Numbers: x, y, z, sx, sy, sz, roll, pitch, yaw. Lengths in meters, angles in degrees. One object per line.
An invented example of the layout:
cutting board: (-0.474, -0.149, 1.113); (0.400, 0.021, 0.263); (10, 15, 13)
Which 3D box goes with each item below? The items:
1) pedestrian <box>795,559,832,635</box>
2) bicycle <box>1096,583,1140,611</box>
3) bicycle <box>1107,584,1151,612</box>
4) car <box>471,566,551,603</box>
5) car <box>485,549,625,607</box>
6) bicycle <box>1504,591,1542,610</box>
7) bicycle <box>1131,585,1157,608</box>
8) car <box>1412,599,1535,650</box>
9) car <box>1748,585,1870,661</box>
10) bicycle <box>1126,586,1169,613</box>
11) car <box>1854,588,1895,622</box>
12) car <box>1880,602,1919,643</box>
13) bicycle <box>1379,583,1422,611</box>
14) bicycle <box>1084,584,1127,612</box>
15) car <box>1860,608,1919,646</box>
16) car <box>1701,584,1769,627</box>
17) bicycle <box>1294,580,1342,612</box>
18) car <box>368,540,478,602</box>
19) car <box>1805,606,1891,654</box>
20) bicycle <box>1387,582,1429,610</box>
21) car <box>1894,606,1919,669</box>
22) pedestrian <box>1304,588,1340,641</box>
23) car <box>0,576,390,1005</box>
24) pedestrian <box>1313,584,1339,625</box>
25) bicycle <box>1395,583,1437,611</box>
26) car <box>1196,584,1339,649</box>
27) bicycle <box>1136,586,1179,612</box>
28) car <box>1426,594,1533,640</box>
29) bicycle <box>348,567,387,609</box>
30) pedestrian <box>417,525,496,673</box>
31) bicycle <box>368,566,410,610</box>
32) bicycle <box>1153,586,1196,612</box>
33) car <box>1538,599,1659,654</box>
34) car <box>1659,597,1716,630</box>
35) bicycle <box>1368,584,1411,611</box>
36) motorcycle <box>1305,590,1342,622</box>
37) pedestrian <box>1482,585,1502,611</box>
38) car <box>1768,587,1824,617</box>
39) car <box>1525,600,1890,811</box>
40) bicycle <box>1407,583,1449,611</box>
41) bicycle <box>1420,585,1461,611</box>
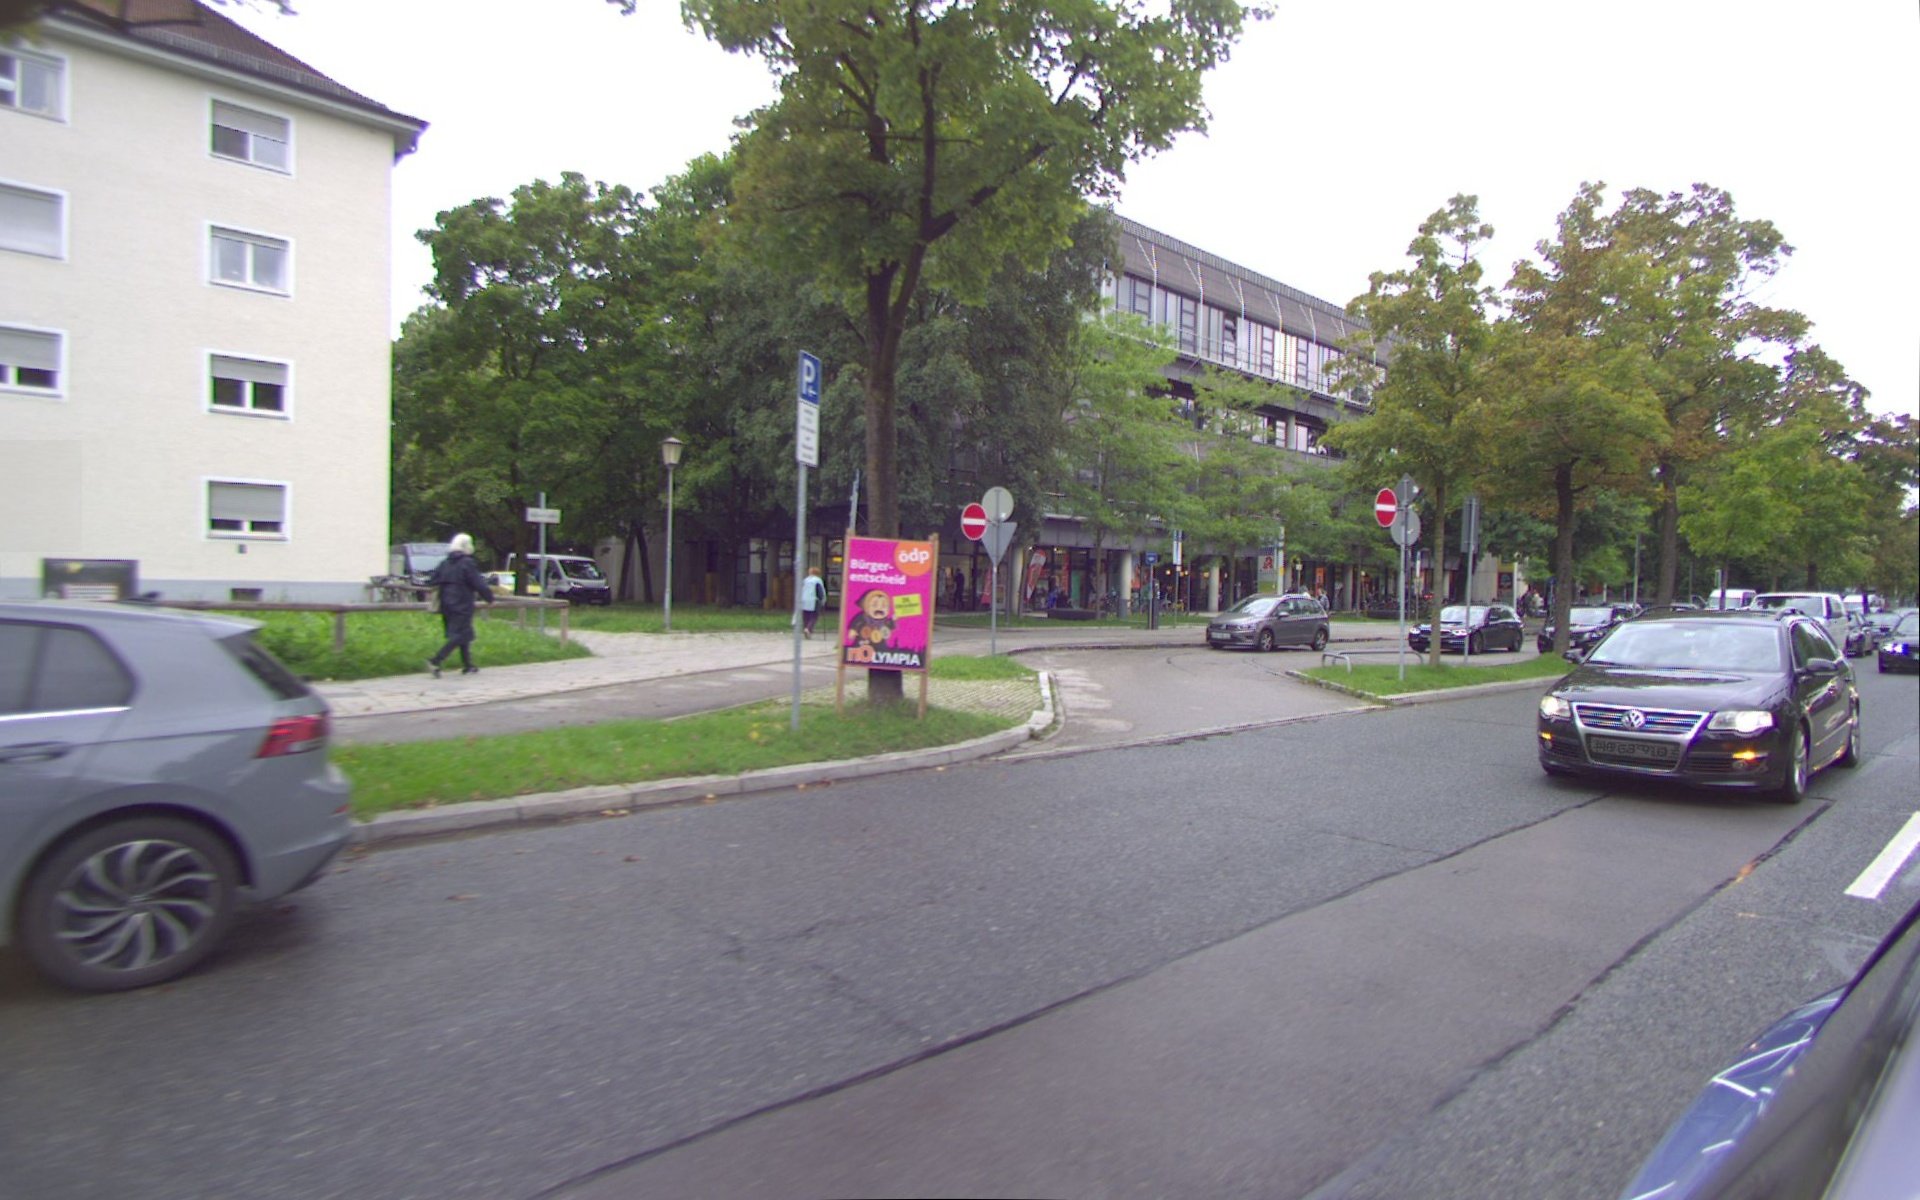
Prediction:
pedestrian: (-3.146, -0.062, 21.729); (0.571, 1.594, 0.779); (0, 0, 11)
bicycle: (6.845, -0.141, 43.995); (0.447, 1.134, 2.079); (1, 1, -40)
bicycle: (7.431, -0.096, 44.598); (0.447, 1.134, 2.079); (1, 1, -40)
car: (-16.593, -0.582, 37.320); (1.559, 1.216, 3.743); (2, 1, -43)
car: (-16.378, -0.924, 40.784); (6.074, 2.078, 2.315); (3, 2, 36)
bicycle: (40.559, 0.015, 72.972); (0.637, 1.318, 2.313); (1, 1, -39)
bicycle: (9.293, -0.162, 51.117); (1.529, 1.134, 0.454); (0, 1, -45)
car: (15.407, 0.691, 30.294); (4.273, 1.397, 1.726); (0, 0, -39)
car: (23.733, 0.611, 28.234); (4.846, 1.952, 1.884); (1, 0, -41)
bicycle: (8.350, -0.028, 45.091); (0.447, 1.134, 2.079); (1, 1, -40)
car: (74.411, 0.427, 82.302); (5.904, 2.691, 1.975); (1, -1, -43)
car: (40.289, 0.928, 42.662); (4.386, 1.662, 1.684); (1, -2, -41)
bicycle: (26.672, -0.183, 61.258); (0.638, 1.643, 2.312); (1, 1, -40)
bicycle: (6.273, -0.082, 43.707); (0.447, 1.134, 2.079); (1, 1, -40)
car: (36.032, 1.009, 38.931); (4.011, 1.392, 1.684); (1, 0, -42)
car: (49.575, 0.337, 64.698); (5.754, 2.560, 2.267); (1, 1, -41)
bicycle: (19.098, -0.236, 53.987); (2.298, 1.643, 0.642); (2, 1, 33)
car: (-19.455, -1.079, 36.506); (2.304, 2.023, 6.105); (1, 2, -40)
car: (28.716, 0.927, 32.691); (3.973, 1.467, 1.698); (1, -1, -43)
bicycle: (27.359, -0.233, 61.820); (0.638, 1.643, 2.312); (1, 1, -40)
car: (23.714, 0.860, 24.092); (4.385, 1.431, 1.761); (1, 0, -42)
pedestrian: (11.289, 0.462, 31.564); (0.738, 1.614, 0.660); (1, 1, -22)
car: (-4.491, 0.651, 3.620); (4.041, 1.484, 1.685); (1, 0, -40)
pedestrian: (14.274, 0.159, 39.466); (0.659, 1.561, 0.622); (5, 3, 44)
bicycle: (28.081, -0.203, 62.341); (0.638, 1.643, 2.312); (1, 1, -40)
car: (8.711, 0.434, 28.554); (4.121, 1.654, 1.827); (1, 2, -39)
bicycle: (8.972, -0.065, 45.932); (0.447, 1.134, 2.079); (1, 1, -40)
car: (19.287, 0.608, 37.493); (4.519, 1.550, 1.826); (1, 2, -39)
bicycle: (-14.628, -0.315, 24.972); (0.448, 0.983, 1.693); (1, 1, -44)
pedestrian: (-6.169, -0.020, 12.409); (0.634, 1.752, 0.596); (0, 0, 23)
bicycle: (-13.381, -0.287, 23.695); (0.448, 0.983, 1.693); (1, 1, -44)
bicycle: (9.898, -0.045, 46.816); (0.447, 1.134, 2.079); (1, 1, -40)
car: (18.523, 0.717, 29.274); (4.609, 1.450, 1.731); (0, 0, -41)
car: (40.633, 0.734, 56.487); (4.270, 1.654, 1.862); (0, 2, -44)
bicycle: (25.704, -0.136, 60.563); (0.638, 1.551, 2.312); (1, 1, -40)
motorcycle: (14.803, 0.252, 41.192); (1.914, 1.245, 0.473); (0, 4, -41)
pedestrian: (35.555, -0.153, 67.670); (0.856, 1.719, 0.772); (0, 2, -26)
car: (62.599, 0.126, 75.710); (5.754, 2.130, 2.267); (1, 1, -41)
car: (6.850, 0.741, 9.084); (4.364, 1.451, 1.734); (1, 0, -41)
bicycle: (29.126, -0.195, 63.007); (0.638, 1.643, 2.312); (1, 1, -40)
bicycle: (30.886, -0.141, 65.120); (2.299, 1.643, 0.641); (2, 1, 34)
